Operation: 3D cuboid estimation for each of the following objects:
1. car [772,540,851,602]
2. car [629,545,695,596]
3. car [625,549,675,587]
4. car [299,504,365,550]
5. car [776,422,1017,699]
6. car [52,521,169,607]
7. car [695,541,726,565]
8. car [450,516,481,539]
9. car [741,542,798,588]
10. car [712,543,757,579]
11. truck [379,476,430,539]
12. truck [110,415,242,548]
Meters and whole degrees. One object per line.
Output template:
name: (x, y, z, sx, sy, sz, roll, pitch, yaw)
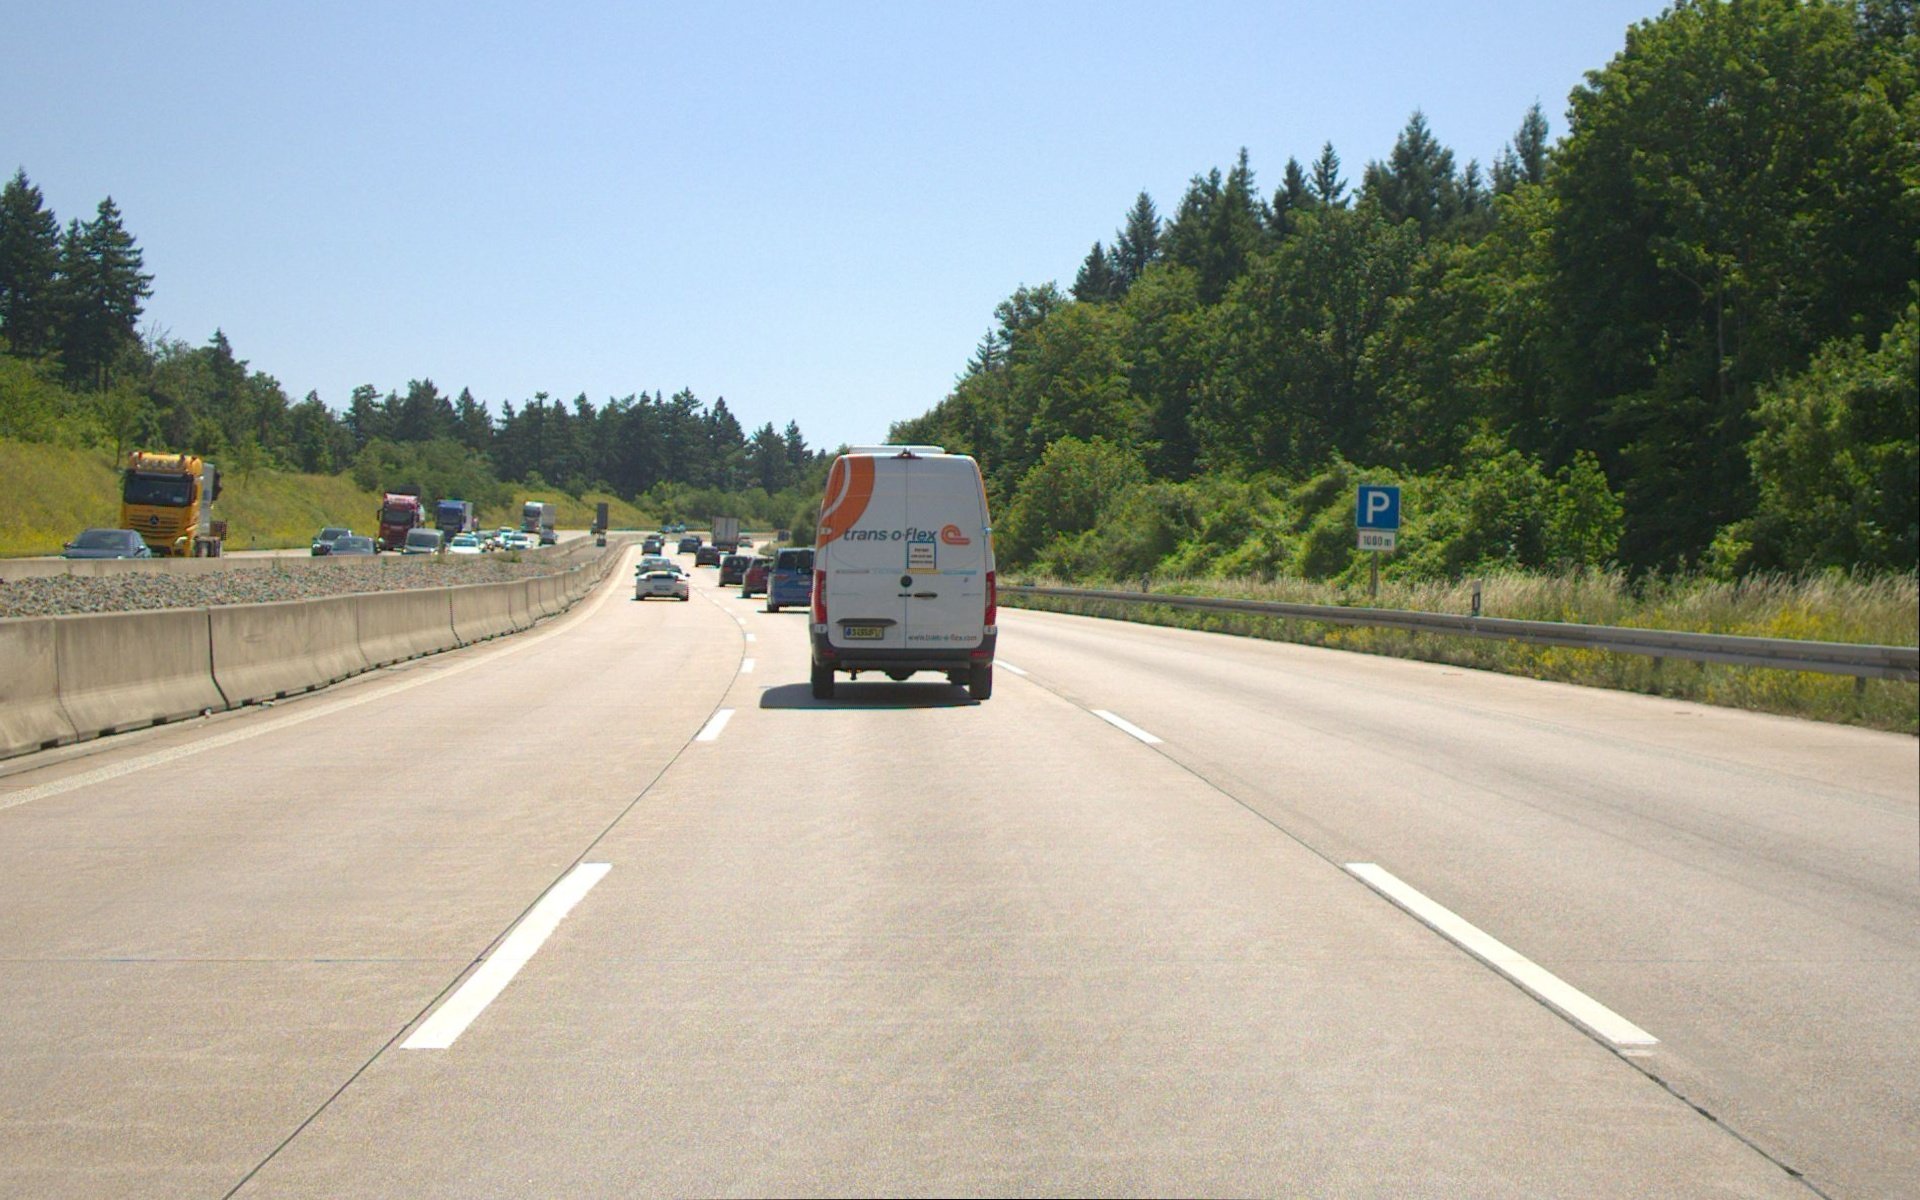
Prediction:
car: (-4.358, -0.870, 100.598, 1.993, 1.678, 4.001, 3, 1, -6)
car: (-10.512, -1.040, 121.396, 1.993, 1.678, 4.000, 3, 1, -1)
car: (-14.542, -1.503, 161.379, 1.993, 1.678, 4.000, 3, 1, -1)
car: (-28.247, -3.279, 154.717, 2.283, 2.007, 4.804, 0, 1, -3)
car: (-0.801, -0.476, 38.342, 2.226, 2.834, 5.455, 1, 1, -6)
car: (-20.457, -0.868, 82.911, 1.993, 2.007, 4.001, 0, 1, -3)
car: (-18.288, -3.423, 252.113, 1.993, 1.678, 4.000, 3, 1, -1)
car: (-36.440, -5.320, 253.366, 1.993, 1.577, 4.180, 2, 1, -5)
car: (-7.402, -1.371, 133.588, 1.993, 1.678, 4.000, 3, 1, -1)
car: (-11.302, -1.939, 172.513, 1.993, 1.678, 4.000, 3, 1, -1)
truck: (-39.060, -6.480, 242.024, 2.933, 4.154, 5.983, 3, 0, -5)
truck: (-28.070, -4.157, 123.599, 2.913, 4.498, 11.260, 1, 1, -4)
